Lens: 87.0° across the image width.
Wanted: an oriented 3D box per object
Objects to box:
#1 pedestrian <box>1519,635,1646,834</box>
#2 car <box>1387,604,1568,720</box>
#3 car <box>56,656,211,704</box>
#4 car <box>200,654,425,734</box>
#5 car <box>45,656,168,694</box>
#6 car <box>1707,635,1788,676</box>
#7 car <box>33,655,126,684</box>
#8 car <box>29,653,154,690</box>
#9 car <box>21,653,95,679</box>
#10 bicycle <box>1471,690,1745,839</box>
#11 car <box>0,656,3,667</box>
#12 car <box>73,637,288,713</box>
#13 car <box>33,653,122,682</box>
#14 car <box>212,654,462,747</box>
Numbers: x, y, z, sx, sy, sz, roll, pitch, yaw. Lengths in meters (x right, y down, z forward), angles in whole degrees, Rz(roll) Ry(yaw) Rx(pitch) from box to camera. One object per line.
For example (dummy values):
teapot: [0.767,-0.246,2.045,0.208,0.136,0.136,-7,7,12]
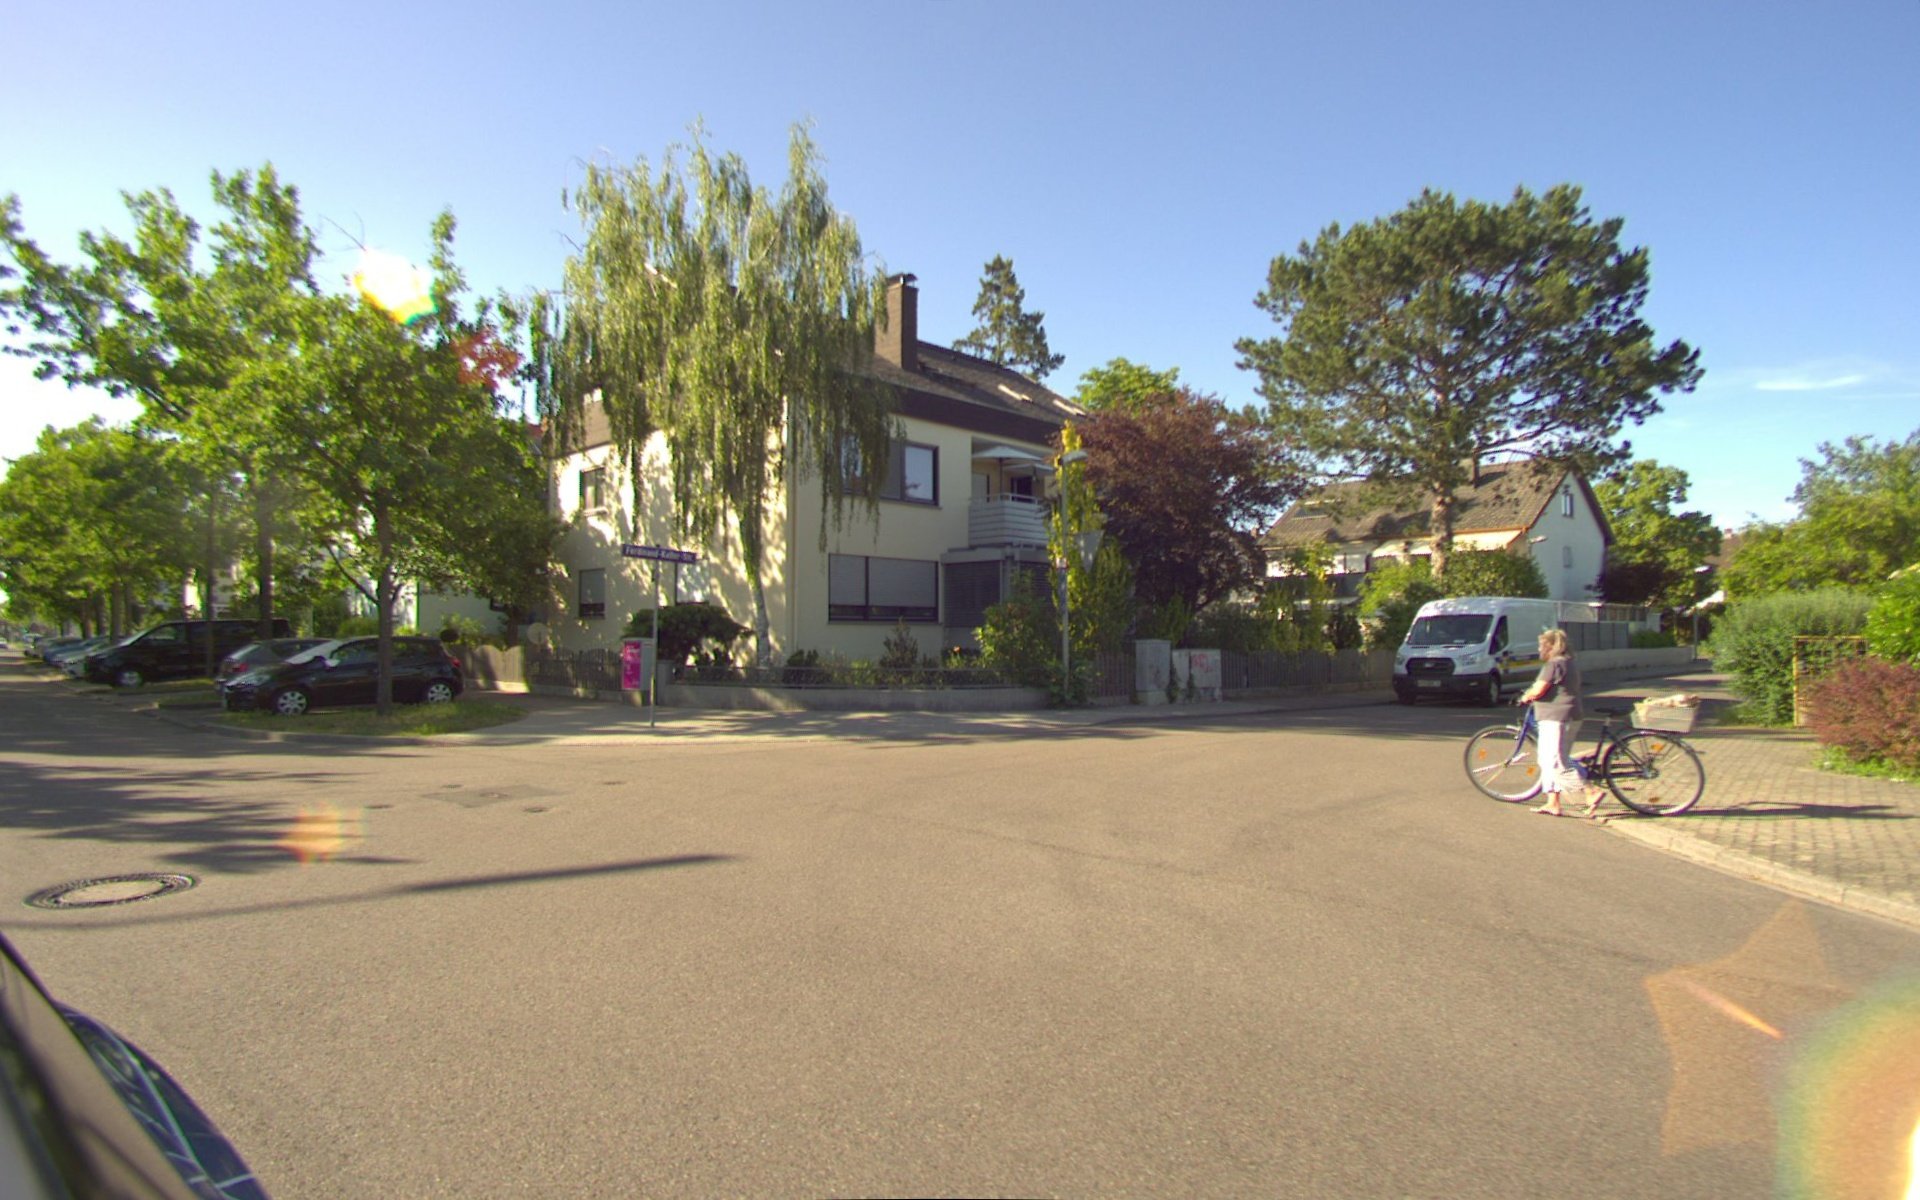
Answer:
pedestrian: [5.170,1.074,8.423,0.801,1.569,0.436,-2,-3,44]
car: [12.019,1.354,23.308,5.550,2.367,2.002,2,-3,-44]
car: [-29.983,2.855,36.787,4.227,1.489,1.770,0,-2,-45]
car: [-13.880,1.956,21.818,1.772,1.430,3.777,-3,-2,43]
car: [-38.368,3.323,45.562,4.134,1.503,1.648,1,-3,-45]
car: [33.450,2.326,42.948,4.408,1.653,1.909,2,-3,-42]
car: [-51.677,4.051,59.415,1.811,1.434,3.988,-3,-1,44]
car: [-41.929,3.434,48.936,4.470,1.643,1.939,2,-3,-43]
car: [-71.013,5.149,79.678,2.000,1.959,4.189,-3,-3,44]
bicycle: [5.431,1.335,8.607,0.441,1.047,1.895,2,-3,-41]
car: [-131.326,8.328,137.195,1.915,1.431,4.006,2,-3,-40]
car: [-22.708,2.129,29.620,2.019,1.931,4.726,-4,-3,43]
car: [-55.246,4.222,63.392,4.137,1.579,1.794,-1,-2,-43]
car: [-11.849,1.832,19.397,3.813,1.470,1.714,0,-3,-45]
